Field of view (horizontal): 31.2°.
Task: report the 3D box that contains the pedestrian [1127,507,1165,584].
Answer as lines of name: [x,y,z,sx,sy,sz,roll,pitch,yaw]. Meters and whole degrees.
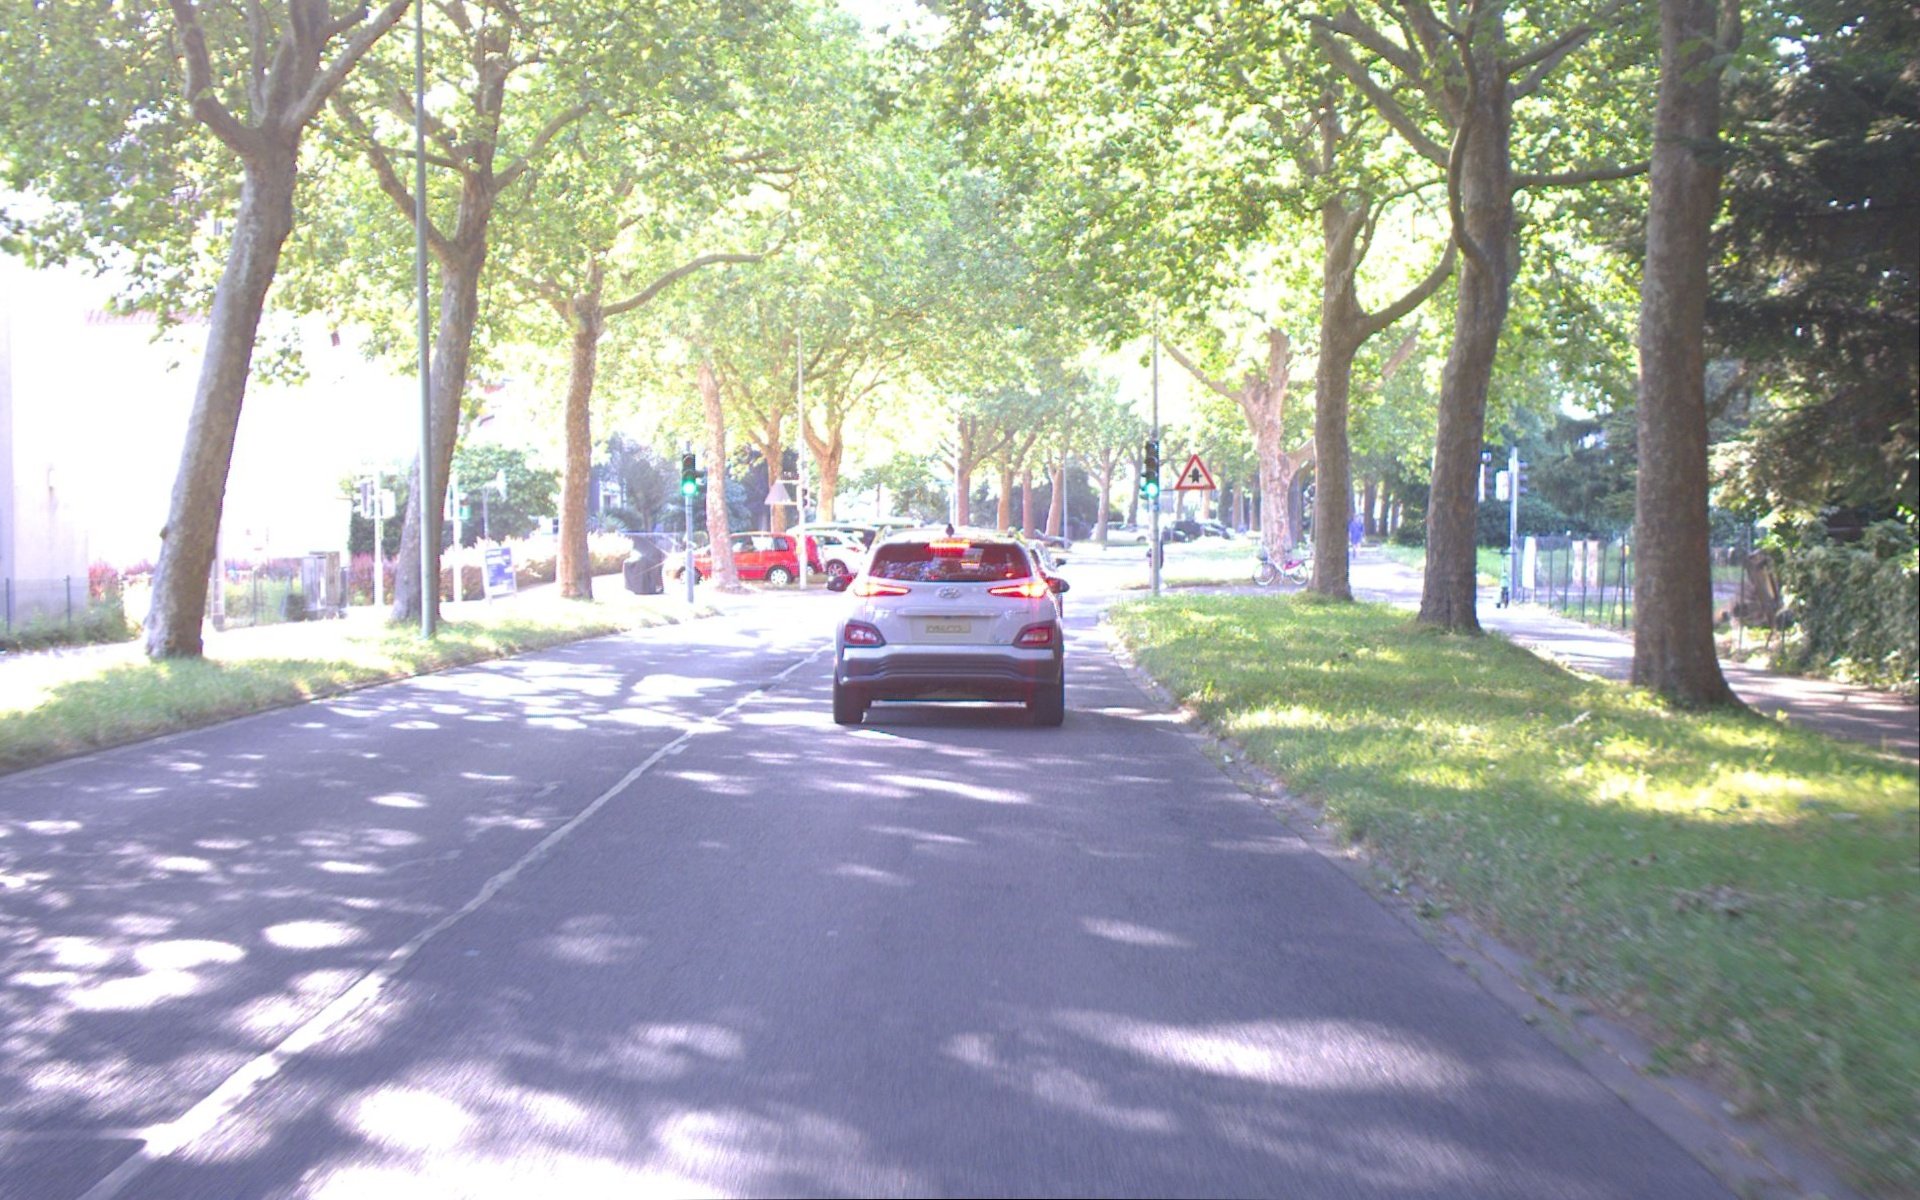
pedestrian: [4.870,-1.435,90.050,0.868,2.006,0.813,1,2,10]

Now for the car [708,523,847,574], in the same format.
car: [-5.454,-1.536,103.133,3.987,1.473,2.000,1,1,3]

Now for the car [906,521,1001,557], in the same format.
car: [-0.267,-2.629,148.782,3.987,1.473,2.000,1,1,3]

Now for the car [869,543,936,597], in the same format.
car: [-1.623,-0.878,97.760,1.688,1.432,3.682,1,2,2]

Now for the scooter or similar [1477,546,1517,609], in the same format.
scooter or similar: [10.946,-0.467,70.102,0.549,1.254,2.313,1,1,3]

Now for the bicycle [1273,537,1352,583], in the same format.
bicycle: [9.013,-1.018,87.948,0.603,1.160,2.149,0,1,-41]

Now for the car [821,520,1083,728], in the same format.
car: [-0.017,0.156,28.336,1.993,1.569,4.000,1,1,1]

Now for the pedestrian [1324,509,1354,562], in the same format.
pedestrian: [14.412,-2.443,130.684,1.095,2.007,1.105,1,1,8]

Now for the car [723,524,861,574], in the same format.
car: [-5.145,-1.549,105.481,3.987,1.473,2.000,1,1,5]

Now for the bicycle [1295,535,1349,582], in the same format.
bicycle: [9.391,-1.083,89.304,0.603,1.179,2.119,1,1,-17]

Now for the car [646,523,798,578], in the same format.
car: [-6.595,-1.379,95.614,3.987,1.473,2.000,1,1,3]

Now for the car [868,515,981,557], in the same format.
car: [-1.260,-2.322,124.989,3.987,1.473,2.000,1,1,3]

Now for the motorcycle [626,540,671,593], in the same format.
motorcycle: [-8.234,-0.899,90.966,0.846,1.374,2.776,1,1,1]

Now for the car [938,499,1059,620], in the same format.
car: [0.637,-0.716,59.467,1.993,2.007,4.000,1,1,0]

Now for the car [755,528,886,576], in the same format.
car: [-4.432,-1.518,109.656,3.987,1.473,2.000,1,1,3]
